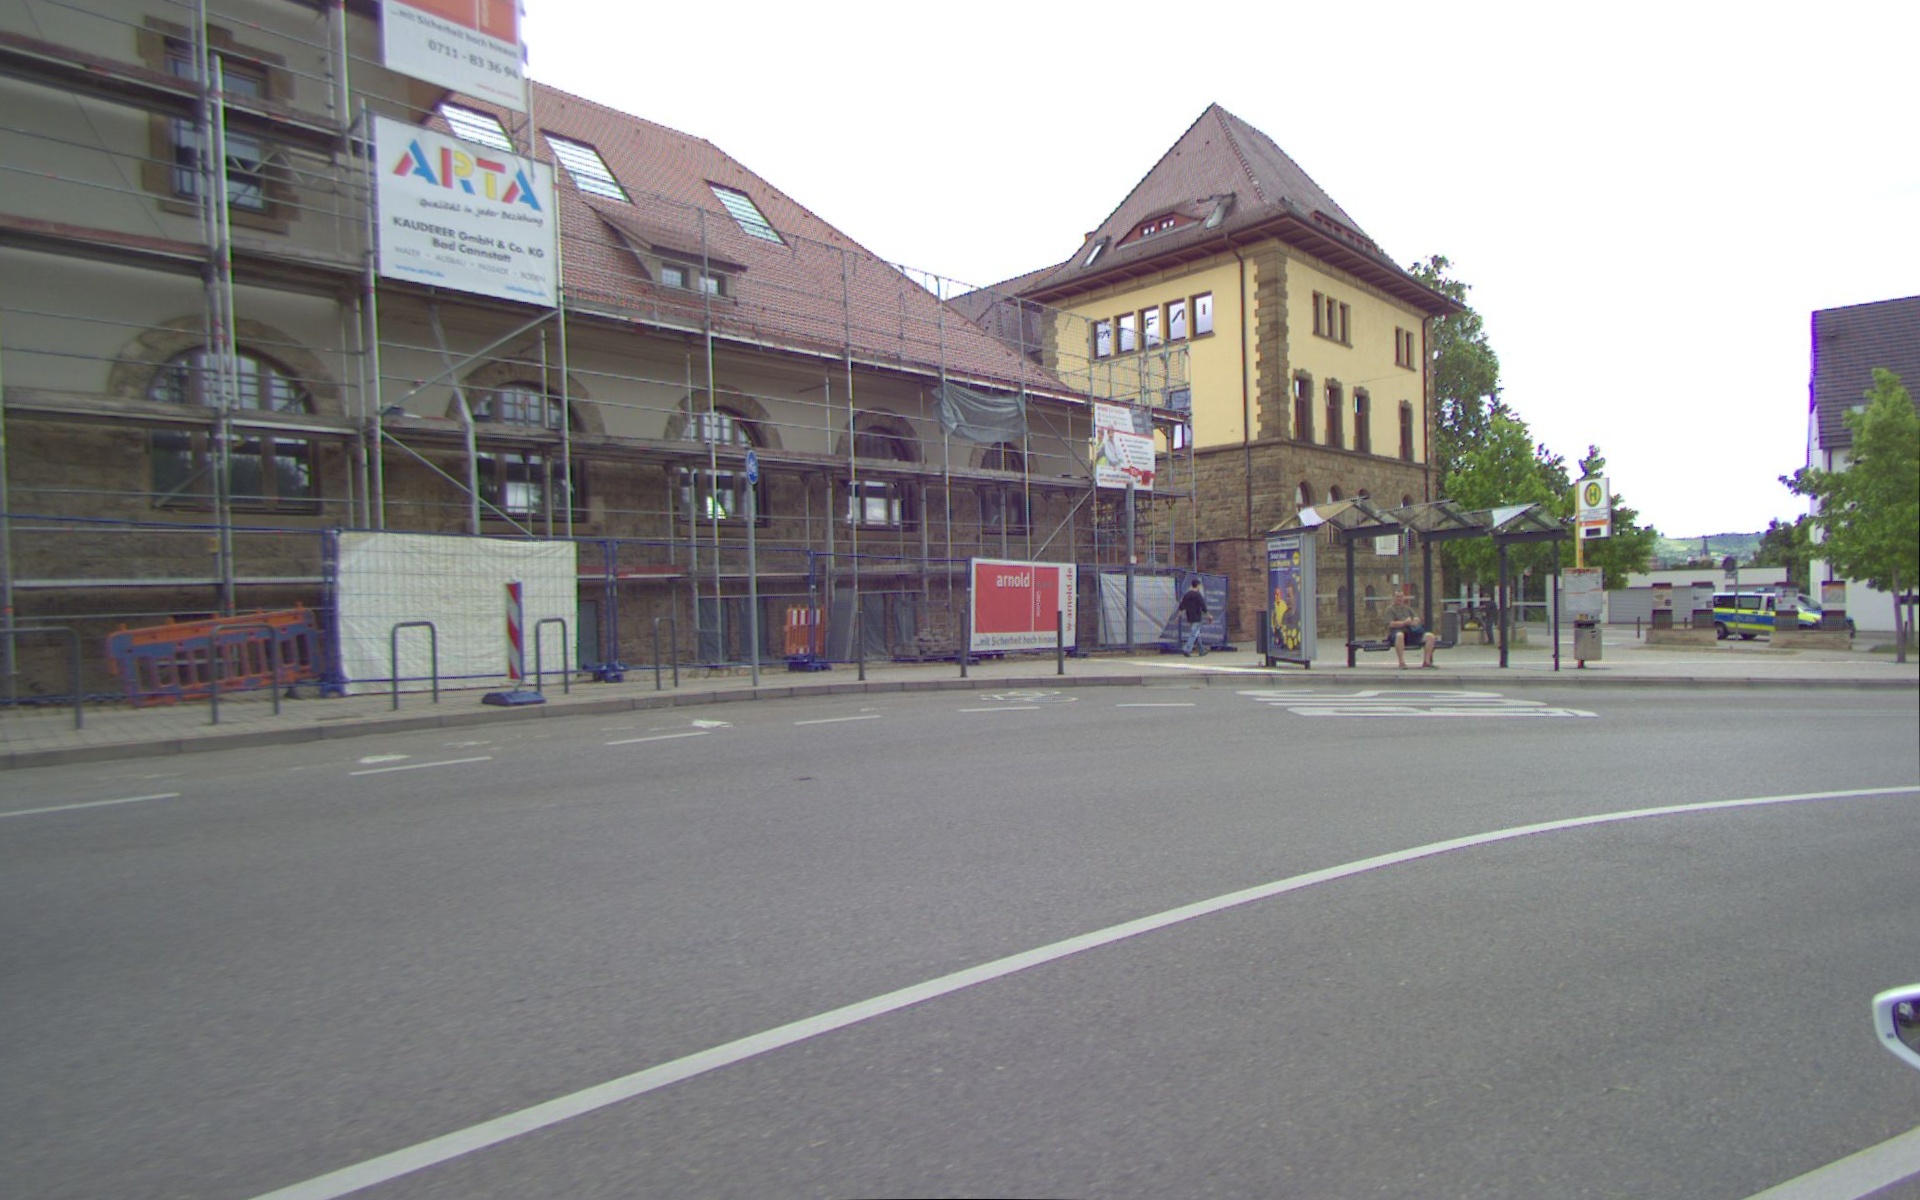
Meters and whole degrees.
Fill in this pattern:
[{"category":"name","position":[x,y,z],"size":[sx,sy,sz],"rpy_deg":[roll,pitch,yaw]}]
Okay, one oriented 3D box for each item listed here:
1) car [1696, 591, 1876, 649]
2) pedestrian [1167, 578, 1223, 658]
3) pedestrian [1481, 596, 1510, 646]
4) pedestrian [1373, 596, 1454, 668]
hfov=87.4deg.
[{"category":"car","position":[31.865,0.728,38.967],"size":[1.970,2.040,5.067],"rpy_deg":[1,0,-20]},{"category":"pedestrian","position":[5.319,0.396,22.761],"size":[0.792,1.743,0.914],"rpy_deg":[1,1,-42]},{"category":"pedestrian","position":[17.185,0.666,32.245],"size":[0.645,1.598,0.535],"rpy_deg":[1,1,-29]},{"category":"pedestrian","position":[7.833,0.558,17.378],"size":[0.890,1.208,0.932],"rpy_deg":[1,-2,-16]}]
